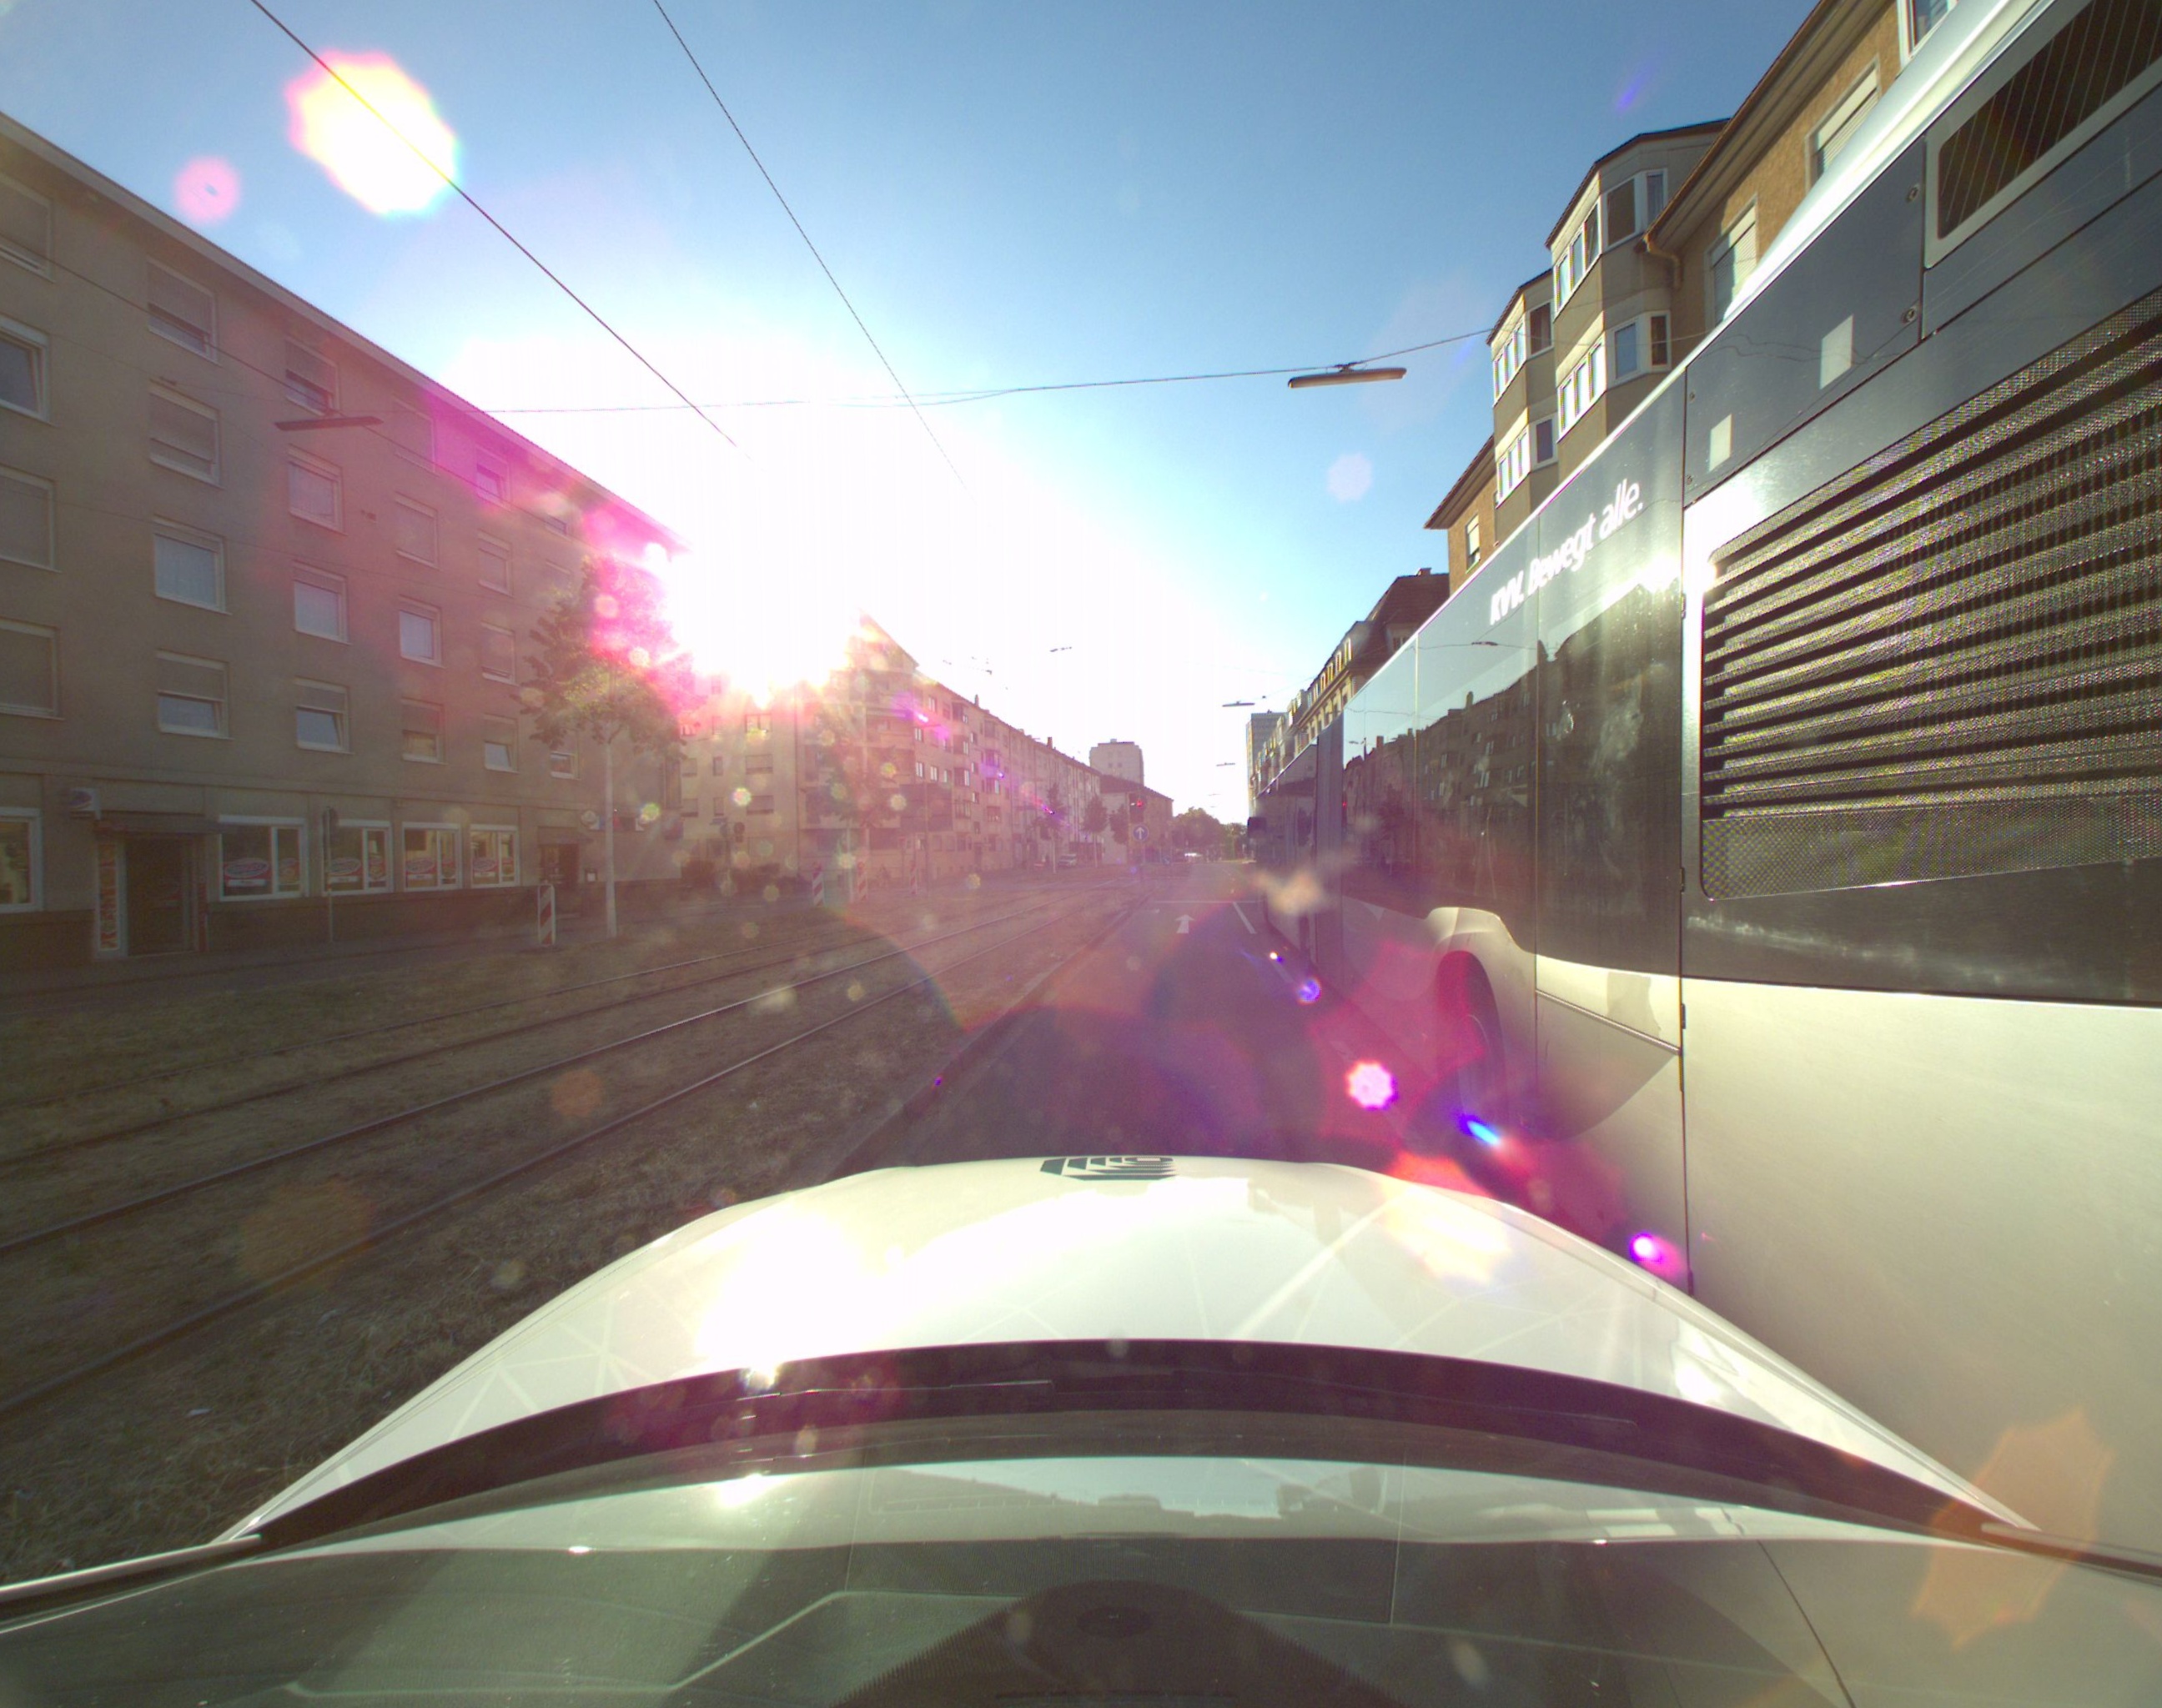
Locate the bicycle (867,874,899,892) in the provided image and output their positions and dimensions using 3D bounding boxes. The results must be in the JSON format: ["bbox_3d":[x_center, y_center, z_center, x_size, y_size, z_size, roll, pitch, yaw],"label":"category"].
[{"bbox_3d":[-12.023,1.740,49.453,0.522,0.984,1.895,-3,-1,39],"label":"bicycle"}]

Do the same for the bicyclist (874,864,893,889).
[{"bbox_3d":[-11.988,1.371,49.519,0.522,1.447,0.971,-3,-1,39],"label":"bicyclist"}]

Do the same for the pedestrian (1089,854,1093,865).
[{"bbox_3d":[1.536,0.890,124.266,0.492,1.658,0.409,-2,-1,9],"label":"pedestrian"}]

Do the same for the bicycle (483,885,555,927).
[{"bbox_3d":[-16.900,1.549,24.551,0.742,1.115,1.782,-2,0,8],"label":"bicycle"}]

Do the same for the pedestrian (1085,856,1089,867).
[{"bbox_3d":[0.849,1.148,124.219,0.492,1.658,0.409,-2,-1,9],"label":"pedestrian"}]

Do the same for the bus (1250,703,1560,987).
[{"bbox_3d":[4.457,-0.091,13.462,2.723,3.056,9.152,0,0,8],"label":"bus"}]

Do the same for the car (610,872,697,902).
[{"bbox_3d":[-24.296,1.858,46.369,3.947,1.440,1.789,-3,-1,-2],"label":"car"}]

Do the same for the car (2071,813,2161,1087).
[{"bbox_3d":[6.926,0.525,3.153,1.828,1.588,3.794,-2,0,8],"label":"car"}]

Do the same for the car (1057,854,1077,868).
[{"bbox_3d":[-1.807,0.943,104.883,1.801,1.798,4.256,0,-1,10],"label":"car"}]

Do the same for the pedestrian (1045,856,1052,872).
[{"bbox_3d":[-4.137,1.238,103.066,0.783,2.013,0.892,-2,-1,5],"label":"pedestrian"}]

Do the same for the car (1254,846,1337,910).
[{"bbox_3d":[5.907,0.606,22.858,1.760,1.575,4.095,-2,0,8],"label":"car"}]

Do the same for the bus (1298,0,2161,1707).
[{"bbox_3d":[3.137,-0.080,4.530,2.723,3.056,8.874,0,0,8],"label":"bus"}]
